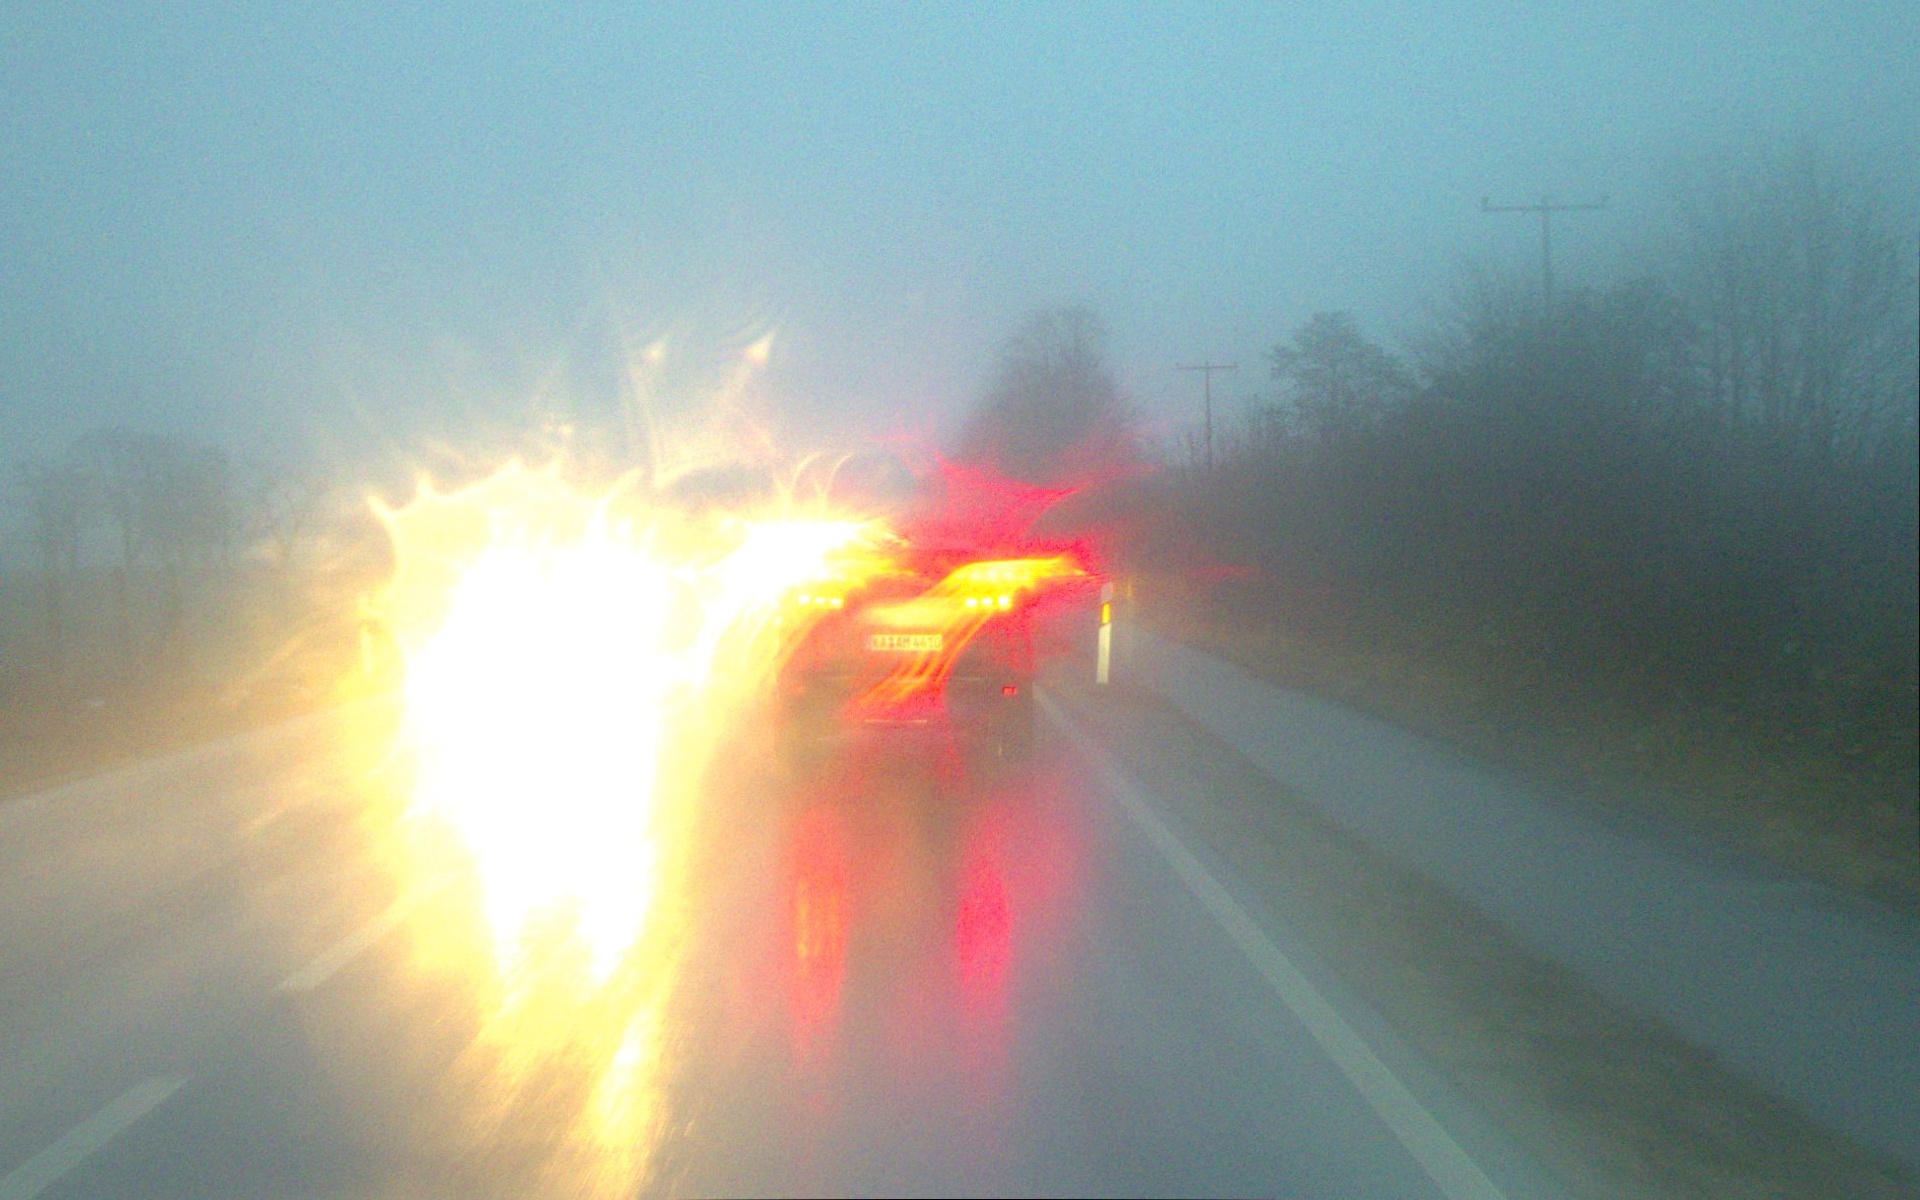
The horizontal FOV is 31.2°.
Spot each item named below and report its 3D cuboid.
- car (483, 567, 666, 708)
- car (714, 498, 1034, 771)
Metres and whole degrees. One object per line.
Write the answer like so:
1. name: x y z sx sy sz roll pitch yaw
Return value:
1. car: -4.424 0.398 39.875 1.688 1.474 3.774 -1 1 0
2. car: -0.600 0.178 25.293 2.120 1.813 4.980 0 1 -1
